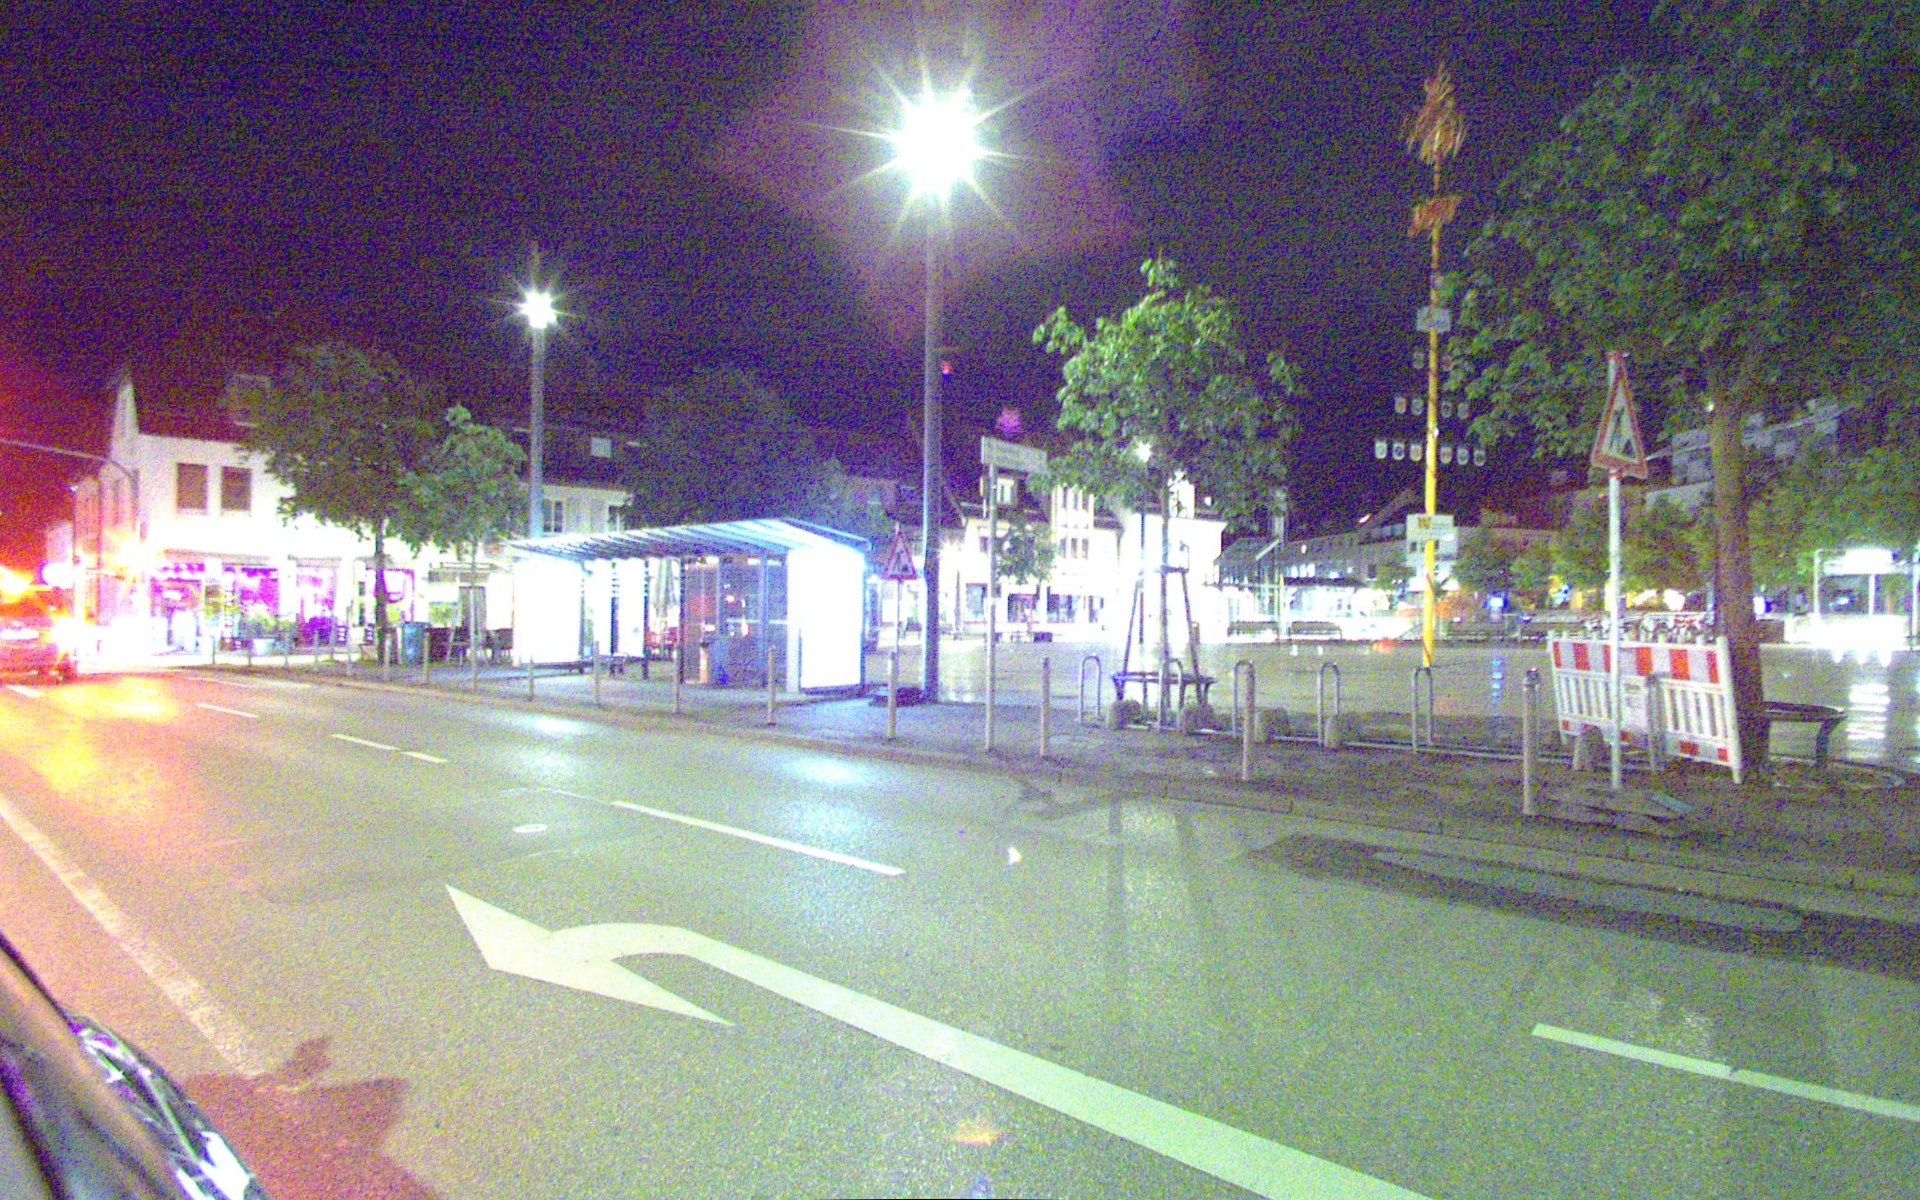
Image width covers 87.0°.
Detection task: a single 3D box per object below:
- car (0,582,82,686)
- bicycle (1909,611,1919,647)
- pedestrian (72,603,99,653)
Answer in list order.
[{"bbox_3d":[-19.111,0.642,20.008,4.909,1.886,1.946,-1,-1,41],"label":"car"},{"bbox_3d":[26.409,0.766,26.972,1.525,0.965,0.476,-1,0,25],"label":"bicycle"},{"bbox_3d":[-28.854,0.915,33.397,0.637,1.640,0.584,-1,0,-39],"label":"pedestrian"}]
